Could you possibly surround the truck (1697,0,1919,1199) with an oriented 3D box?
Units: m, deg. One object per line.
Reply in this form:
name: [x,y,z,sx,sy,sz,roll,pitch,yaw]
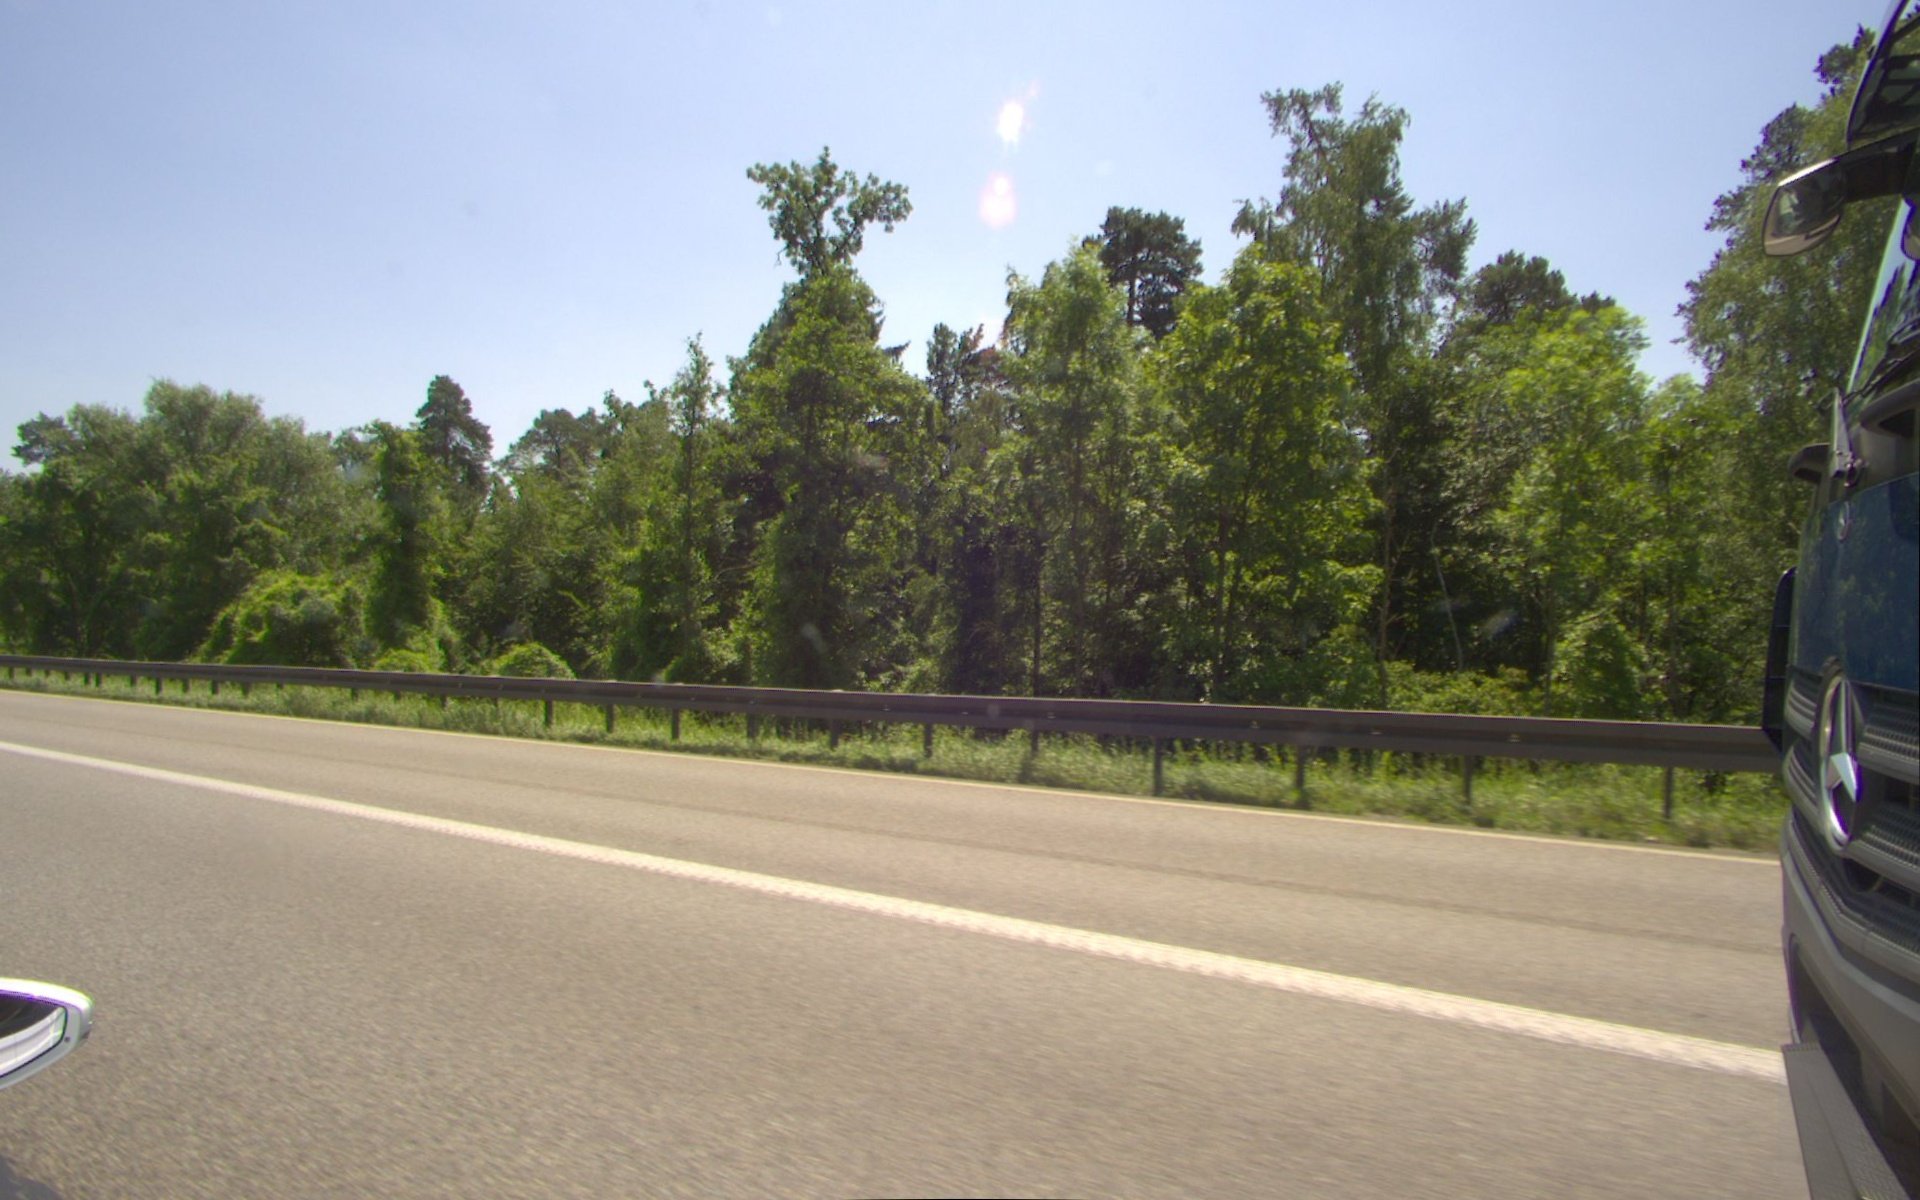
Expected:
truck: [3.351,-0.037,0.945,4.048,2.978,2.550,-2,-1,33]
